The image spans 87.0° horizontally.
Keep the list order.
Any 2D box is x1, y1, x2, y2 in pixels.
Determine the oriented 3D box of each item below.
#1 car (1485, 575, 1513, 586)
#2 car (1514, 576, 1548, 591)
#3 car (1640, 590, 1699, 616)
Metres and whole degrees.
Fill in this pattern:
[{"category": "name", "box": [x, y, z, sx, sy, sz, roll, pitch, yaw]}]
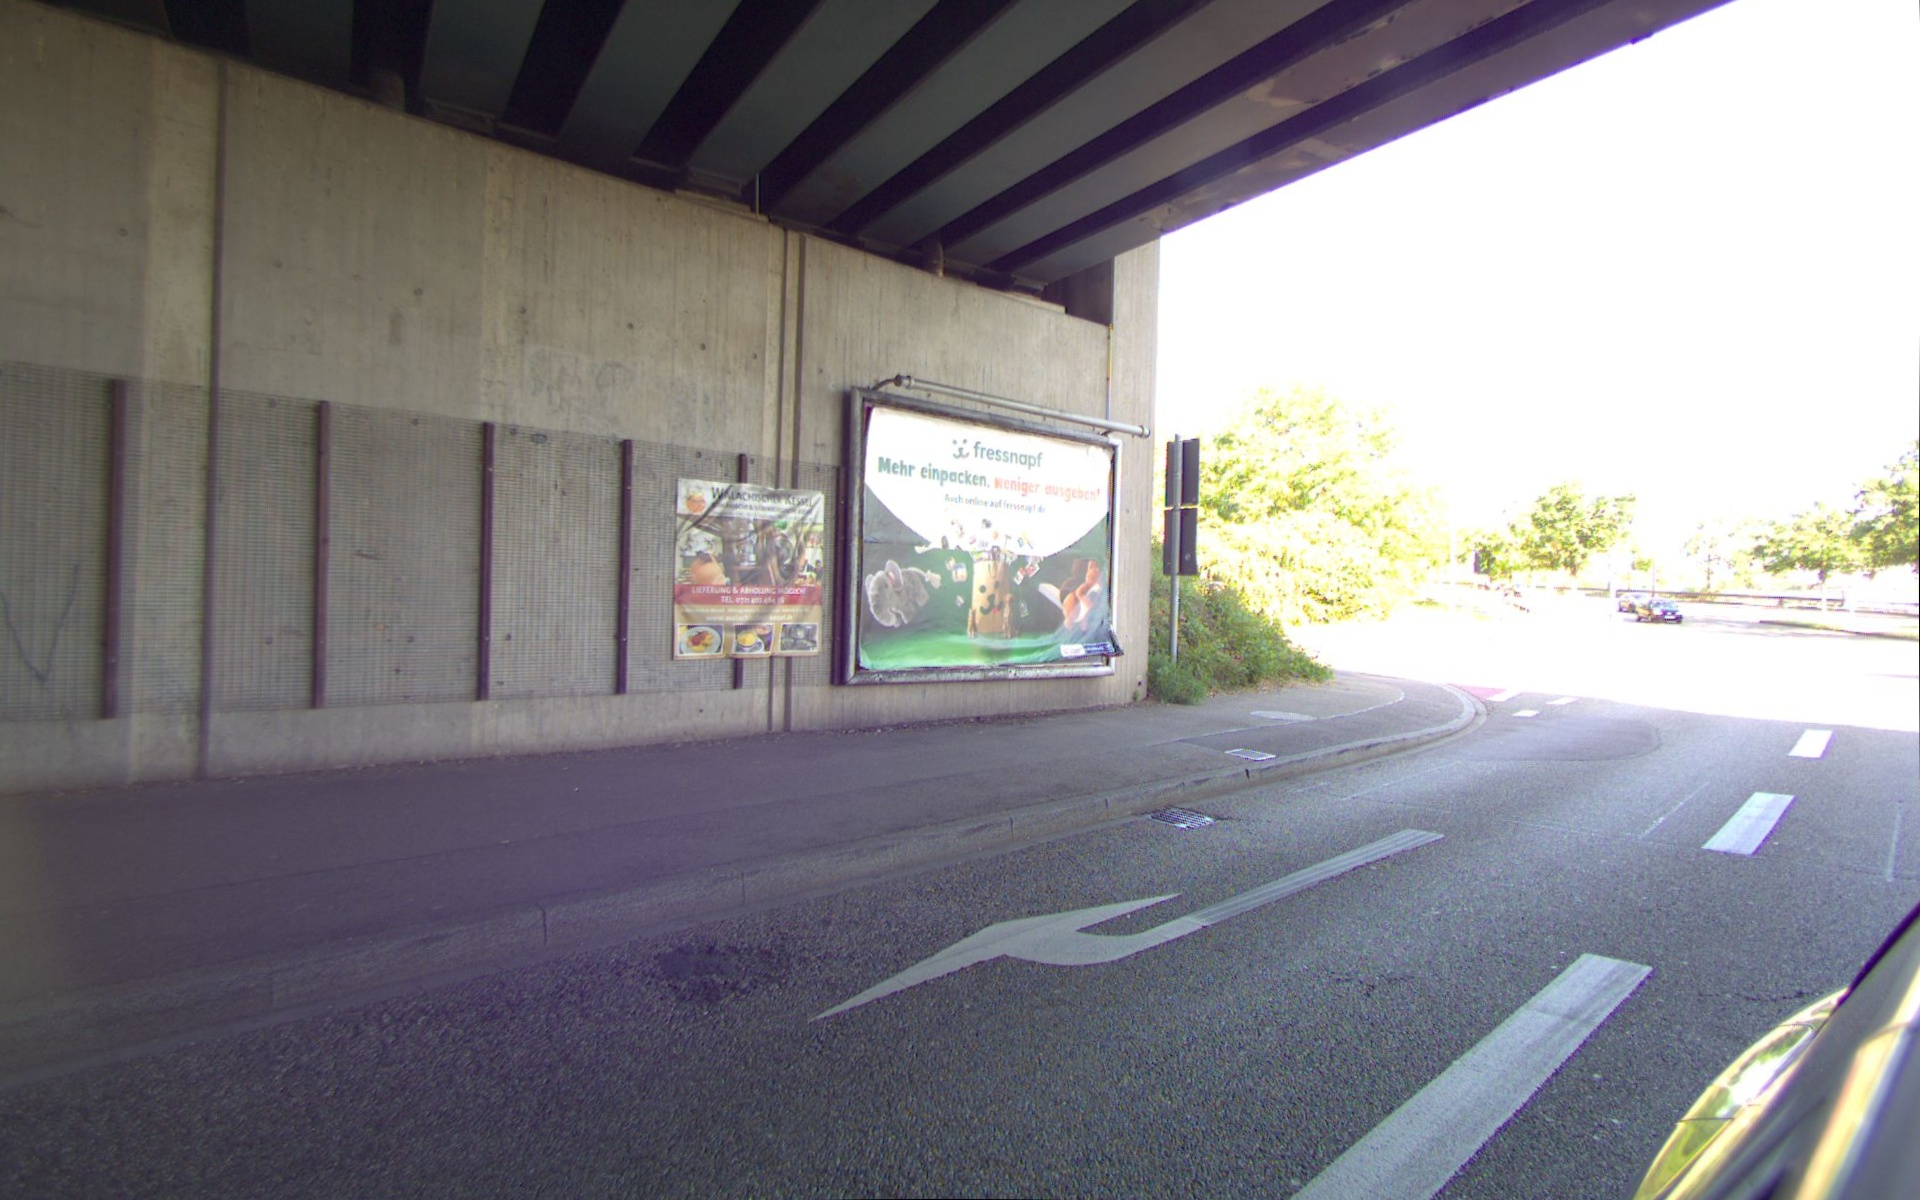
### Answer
[{"category": "car", "box": [66.231, -2.403, 124.420, 1.720, 1.297, 4.172, 3, 2, 10]}, {"category": "car", "box": [58.942, -1.679, 104.619, 1.828, 1.498, 4.215, 0, 1, 12]}, {"category": "car", "box": [42.807, 0.206, 61.151, 1.716, 1.438, 4.292, 2, 0, 18]}]
